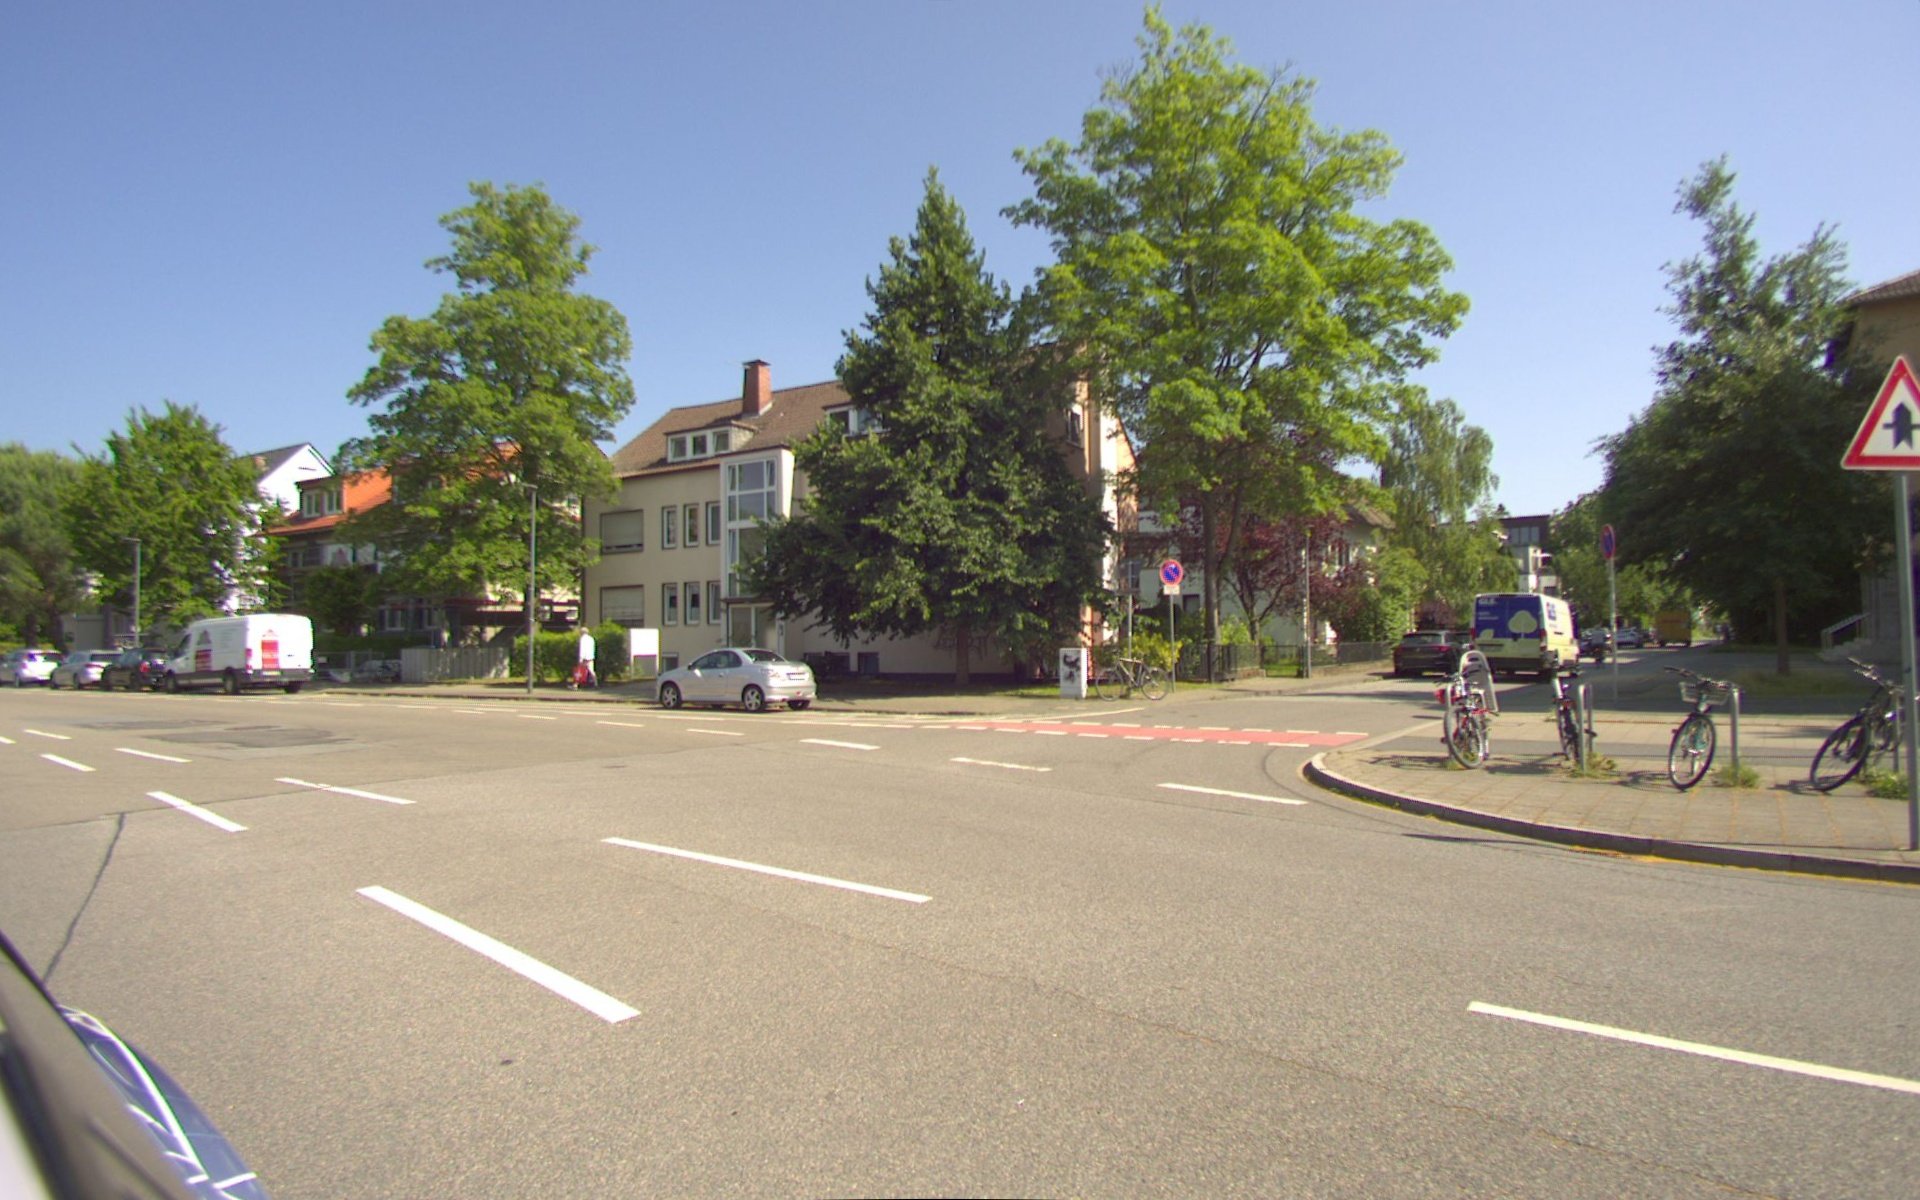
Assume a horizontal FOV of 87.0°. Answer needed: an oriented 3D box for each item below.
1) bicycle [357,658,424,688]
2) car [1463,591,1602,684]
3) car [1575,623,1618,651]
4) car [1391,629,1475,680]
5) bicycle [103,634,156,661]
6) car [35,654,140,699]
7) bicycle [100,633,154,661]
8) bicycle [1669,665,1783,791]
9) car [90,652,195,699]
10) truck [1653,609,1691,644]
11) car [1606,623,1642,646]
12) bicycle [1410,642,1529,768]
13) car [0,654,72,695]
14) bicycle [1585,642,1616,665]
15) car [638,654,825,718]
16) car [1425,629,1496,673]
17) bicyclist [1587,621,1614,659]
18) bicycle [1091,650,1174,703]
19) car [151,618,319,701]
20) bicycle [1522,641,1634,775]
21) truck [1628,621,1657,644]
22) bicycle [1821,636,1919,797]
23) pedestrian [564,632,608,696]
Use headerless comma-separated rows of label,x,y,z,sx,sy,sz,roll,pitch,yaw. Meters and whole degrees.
bicycle,-21.132,2.695,37.613,0.773,1.009,2.051,-2,-2,33
car,17.502,1.168,30.771,2.283,2.544,6.048,-3,-4,43
car,40.552,2.338,64.472,1.862,1.650,3.948,-3,-3,38
car,15.713,1.770,33.530,1.746,1.564,3.748,-3,-3,37
bicycle,-44.284,2.528,53.974,0.501,1.394,2.158,-2,-3,27
car,-33.170,2.878,38.448,4.657,1.571,1.707,-2,-3,32
bicycle,-43.961,2.479,53.411,0.501,1.394,2.158,-2,-3,27
bicycle,7.302,1.144,9.680,0.738,0.995,2.521,-3,-4,37
car,-29.116,2.665,36.027,3.987,1.571,1.707,-2,-3,32
truck,57.670,2.125,81.860,2.231,2.616,8.711,-3,-3,36
car,50.075,2.600,76.277,1.862,1.650,3.948,-3,-3,38
bicycle,5.792,1.113,11.420,0.738,1.266,2.521,-3,-4,37
car,-38.426,3.040,41.665,3.987,1.571,1.707,-2,-3,32
bicycle,24.618,2.040,38.883,0.749,0.830,2.147,-3,-3,38
car,-5.045,1.835,22.203,3.987,1.276,1.707,-2,-3,32
car,18.996,1.901,38.345,1.746,1.564,3.748,-3,-3,37
bicyclist,24.595,1.519,38.876,0.714,1.402,1.279,-2,-2,39
bicycle,3.716,1.638,21.818,1.688,1.089,0.378,-1,-2,-10
car,-23.808,1.957,33.187,5.926,2.516,2.075,-2,-3,29
bicycle,6.595,1.065,10.730,0.738,1.249,2.521,-3,-4,37
truck,58.280,2.766,86.418,1.795,1.839,3.951,-3,-3,36
bicycle,8.280,0.958,9.002,0.738,1.266,2.492,-3,-4,37
pedestrian,-10.871,1.835,29.388,0.724,1.793,0.965,-2,-2,36
